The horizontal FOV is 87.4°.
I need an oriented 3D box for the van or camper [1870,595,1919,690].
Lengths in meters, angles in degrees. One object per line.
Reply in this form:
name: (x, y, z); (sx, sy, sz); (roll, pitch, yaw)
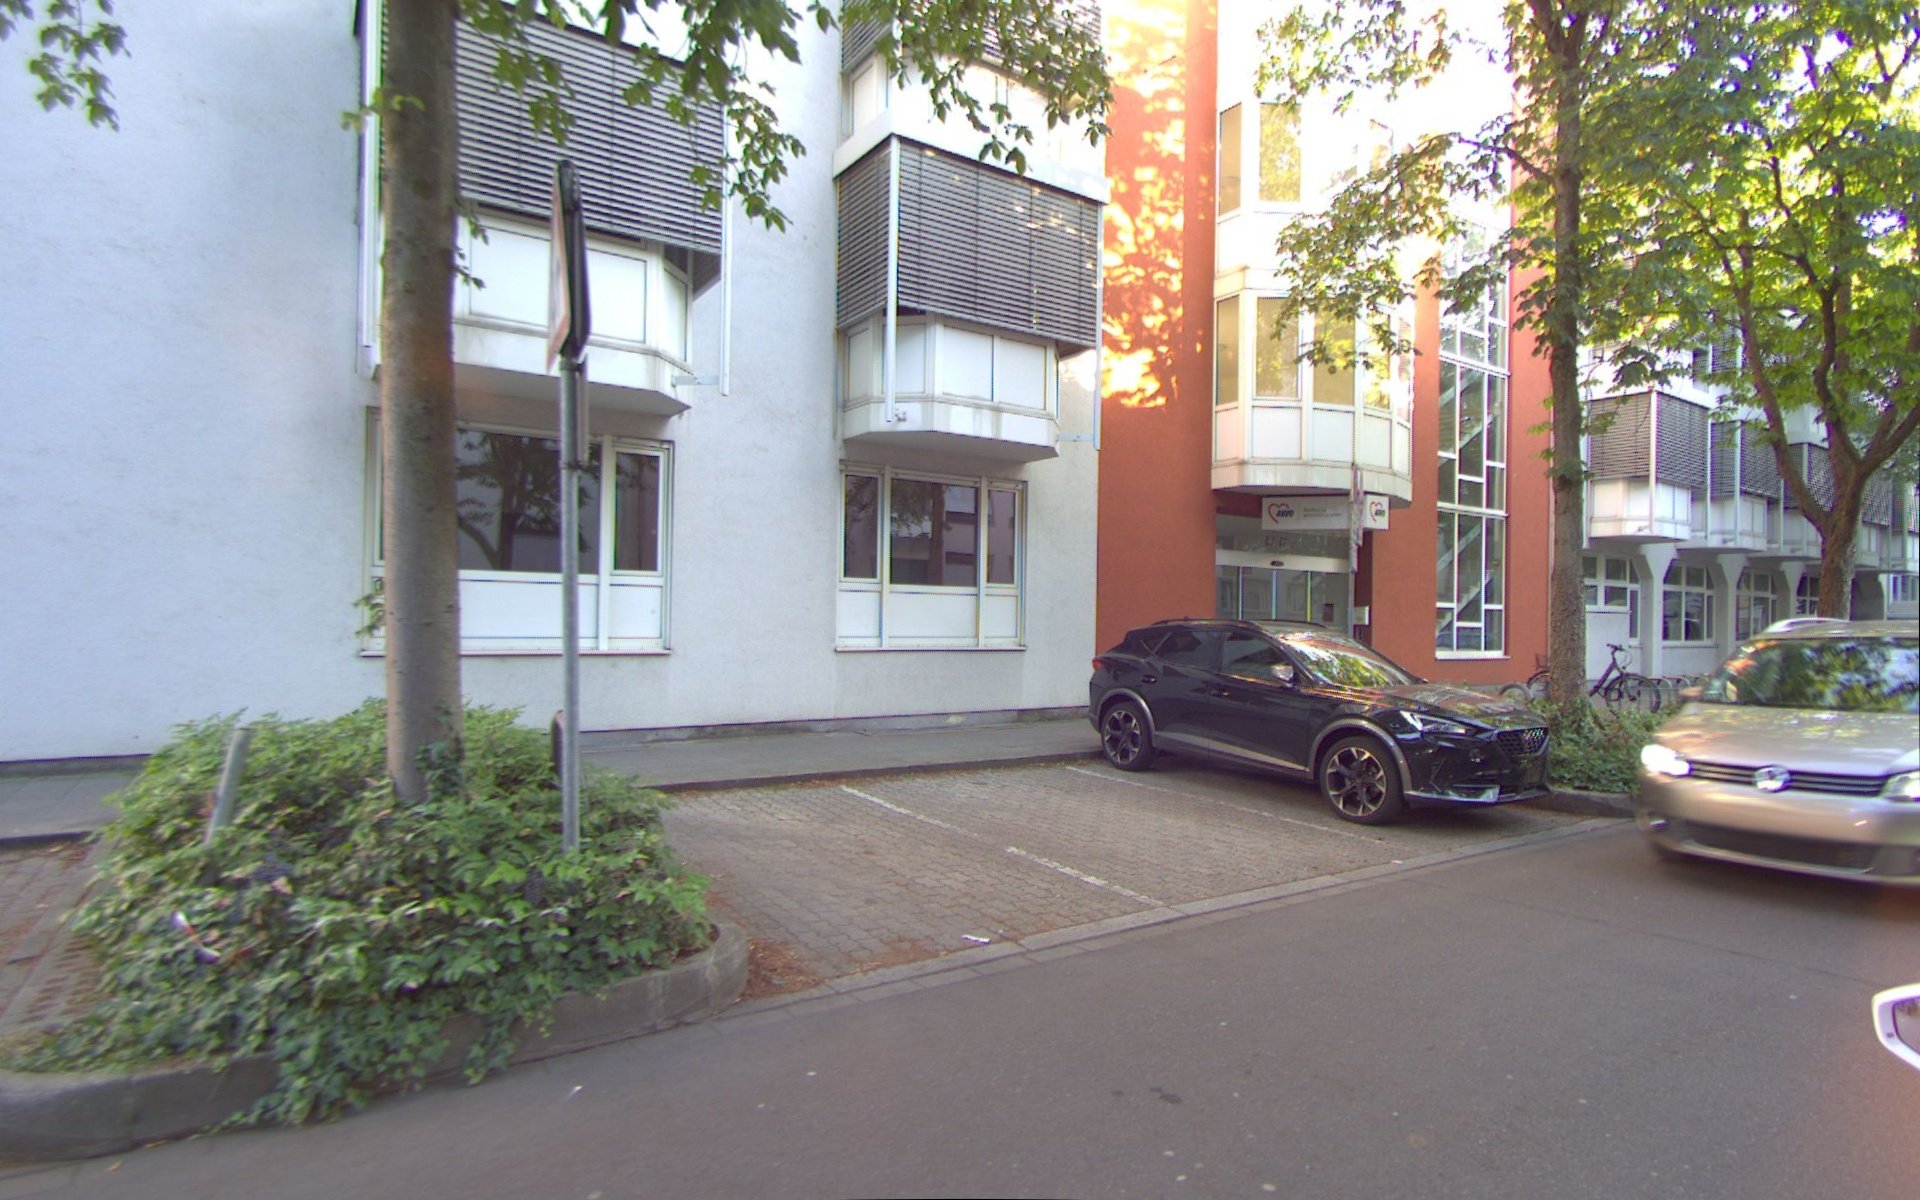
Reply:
van or camper: (26.821, 1.136, 25.908); (1.979, 2.511, 4.635); (1, -1, -34)

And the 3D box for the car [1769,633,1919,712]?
car: (19.923, 1.523, 21.344); (1.766, 1.537, 3.945); (1, -1, -33)

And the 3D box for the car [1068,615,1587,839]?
car: (3.069, 0.929, 9.298); (1.766, 1.537, 4.328); (2, -1, -33)

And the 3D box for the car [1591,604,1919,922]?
car: (6.150, 0.863, 6.705); (4.124, 1.583, 1.768); (2, -1, -34)
